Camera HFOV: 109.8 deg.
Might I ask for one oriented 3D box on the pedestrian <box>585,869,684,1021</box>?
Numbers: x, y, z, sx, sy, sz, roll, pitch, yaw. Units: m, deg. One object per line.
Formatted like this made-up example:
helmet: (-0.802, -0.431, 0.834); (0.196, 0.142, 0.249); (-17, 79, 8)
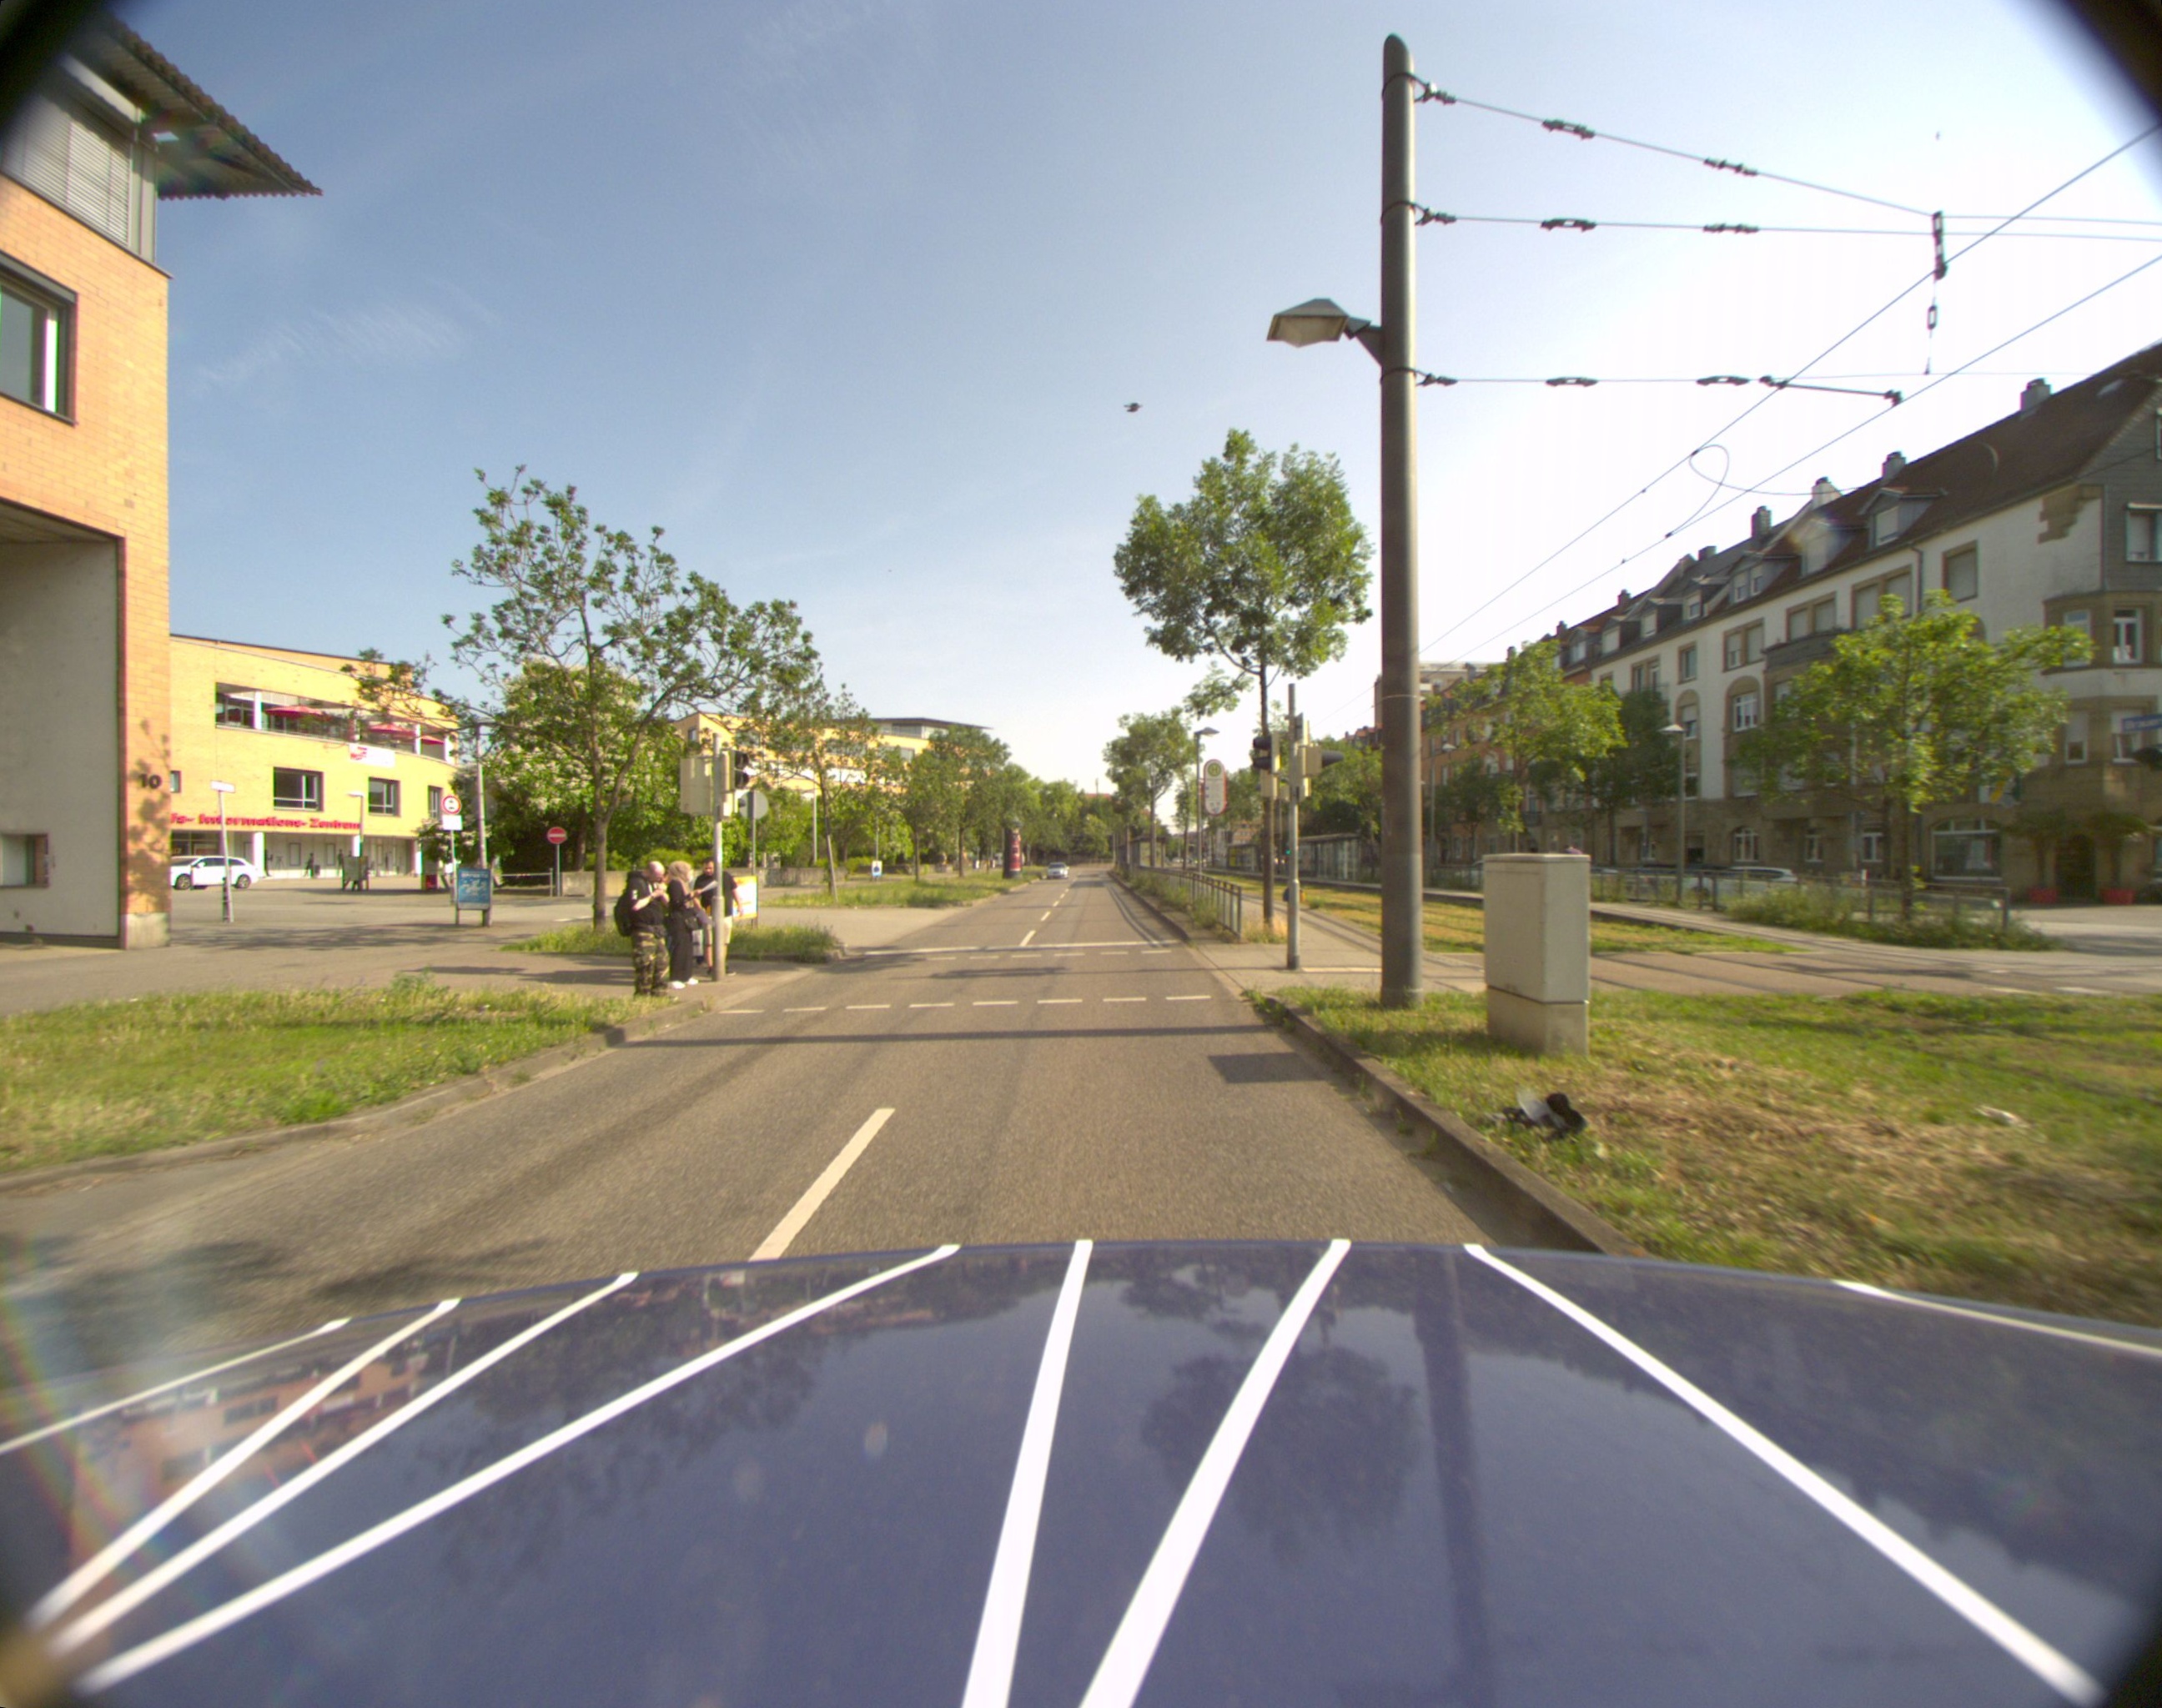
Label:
pedestrian: (-5.052, 1.003, 8.634); (0.707, 1.637, 0.689); (1, 1, -1)

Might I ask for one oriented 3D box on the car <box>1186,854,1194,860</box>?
car: (28.635, 0.849, 199.383); (1.672, 1.505, 4.000); (0, 1, 1)

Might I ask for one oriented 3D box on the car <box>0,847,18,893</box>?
car: (-39.469, 0.618, 25.307); (1.771, 1.631, 4.419); (-3, 0, 1)

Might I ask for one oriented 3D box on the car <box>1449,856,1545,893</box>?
car: (17.925, 0.841, 32.975); (1.776, 1.432, 4.424); (1, 0, 1)

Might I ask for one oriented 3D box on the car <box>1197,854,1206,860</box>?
car: (27.592, 0.667, 174.030); (1.672, 1.505, 4.000); (0, 1, 1)

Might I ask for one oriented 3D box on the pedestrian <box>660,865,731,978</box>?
pedestrian: (-5.778, 0.992, 11.424); (0.707, 1.637, 0.689); (1, 1, -1)

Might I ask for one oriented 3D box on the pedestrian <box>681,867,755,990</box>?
pedestrian: (-5.077, 1.019, 10.662); (0.707, 1.637, 0.689); (1, 1, -1)

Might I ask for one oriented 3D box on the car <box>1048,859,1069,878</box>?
car: (-1.893, 1.210, 64.193); (1.629, 1.476, 3.366); (-3, 0, 0)

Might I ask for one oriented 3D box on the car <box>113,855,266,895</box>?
car: (-37.244, 0.814, 31.949); (1.692, 1.476, 4.358); (-3, 0, -9)

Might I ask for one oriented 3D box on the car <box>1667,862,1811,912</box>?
car: (25.313, 1.267, 29.445); (3.989, 1.716, 2.004); (-2, 1, 36)

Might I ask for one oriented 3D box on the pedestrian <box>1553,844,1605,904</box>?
pedestrian: (14.000, 0.542, 21.388); (0.886, 1.645, 0.852); (0, 1, 1)

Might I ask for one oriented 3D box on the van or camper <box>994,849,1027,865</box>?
van or camper: (-12.789, 0.461, 138.428); (5.801, 2.677, 2.408); (-2, 1, -2)

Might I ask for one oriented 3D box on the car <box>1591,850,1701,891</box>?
car: (26.136, 0.760, 35.292); (3.989, 1.716, 2.004); (-2, 1, 36)

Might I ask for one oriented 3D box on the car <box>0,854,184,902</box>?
car: (-32.992, 0.768, 24.859); (1.598, 1.391, 4.705); (-3, 0, 1)

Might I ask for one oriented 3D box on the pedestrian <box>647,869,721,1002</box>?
pedestrian: (-5.101, 1.025, 9.796); (0.636, 1.637, 0.609); (1, 1, -3)

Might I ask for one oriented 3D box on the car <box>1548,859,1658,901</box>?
car: (20.720, 0.994, 30.385); (1.672, 1.505, 4.000); (0, 1, 1)
